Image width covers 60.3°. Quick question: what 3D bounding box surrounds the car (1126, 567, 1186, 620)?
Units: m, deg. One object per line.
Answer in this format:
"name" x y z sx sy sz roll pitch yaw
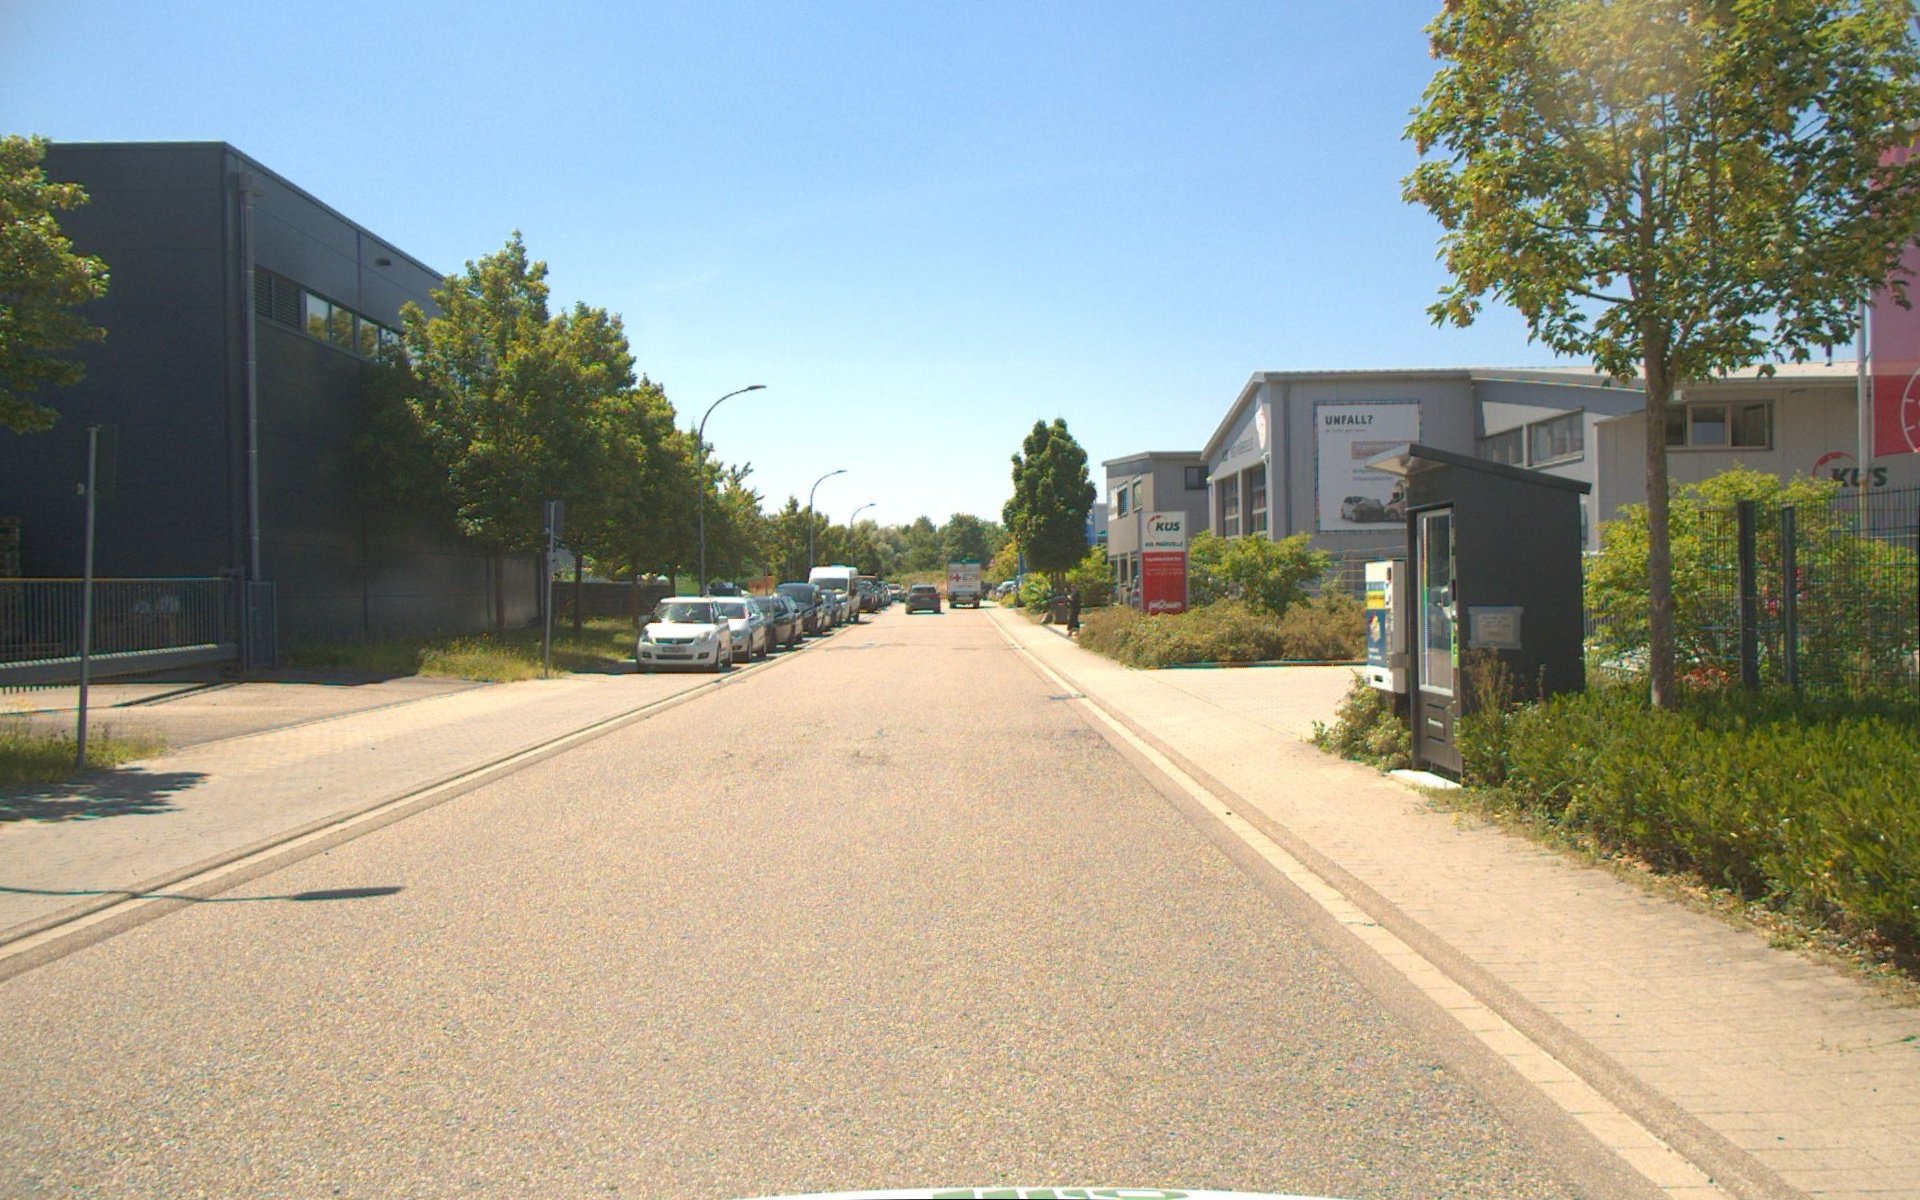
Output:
"car" 7.226 -0.234 61.333 1.748 1.814 4.906 -2 0 2

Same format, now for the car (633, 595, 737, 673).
"car" -5.697 0.668 34.642 1.686 1.501 3.855 0 0 -3

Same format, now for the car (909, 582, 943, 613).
"car" -1.852 -0.147 90.546 1.753 1.652 3.808 1 0 -1

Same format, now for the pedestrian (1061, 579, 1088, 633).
"pedestrian" 3.569 0.201 51.707 0.492 1.641 0.710 -5 0 -18

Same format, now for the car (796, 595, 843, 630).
"car" -5.525 0.474 65.384 1.447 1.320 3.900 0 0 1

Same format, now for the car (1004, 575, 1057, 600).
"car" 5.190 -0.911 122.477 3.798 1.780 1.751 1 0 -3

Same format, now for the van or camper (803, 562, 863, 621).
"van or camper" -5.772 -0.392 75.730 2.035 2.526 6.132 1 0 2

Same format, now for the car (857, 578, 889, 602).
"car" -5.682 -0.697 108.837 1.762 1.513 4.253 0 1 1

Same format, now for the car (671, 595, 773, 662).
"car" -5.669 0.640 39.904 1.762 1.501 4.555 0 0 0

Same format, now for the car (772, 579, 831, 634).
"car" -5.578 0.202 58.555 1.762 1.846 4.251 0 0 -1

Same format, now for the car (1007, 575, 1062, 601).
"car" 5.390 -0.895 120.177 3.798 1.780 1.751 1 0 -3

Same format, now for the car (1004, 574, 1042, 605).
"car" 3.831 -0.631 101.409 1.954 1.835 4.138 -1 0 -3

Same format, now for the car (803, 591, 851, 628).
"car" -5.522 0.370 69.049 1.762 1.475 4.251 0 0 -1

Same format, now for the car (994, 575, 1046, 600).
"car" 4.507 -0.938 125.021 3.798 1.780 1.751 1 0 -3

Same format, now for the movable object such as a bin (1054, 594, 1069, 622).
"movable object such as a bin" 3.925 0.307 64.067 0.520 1.071 0.845 -1 0 1

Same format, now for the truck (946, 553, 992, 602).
"truck" 0.561 -1.421 107.170 2.873 3.026 6.419 1 0 0

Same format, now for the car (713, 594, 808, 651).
"car" -5.566 0.603 46.671 1.761 1.501 4.640 0 0 5

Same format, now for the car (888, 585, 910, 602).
"car" -5.614 -0.603 153.080 1.762 1.513 4.253 0 1 1

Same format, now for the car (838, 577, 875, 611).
"car" -5.969 -0.371 95.713 1.762 1.881 4.253 0 1 1
